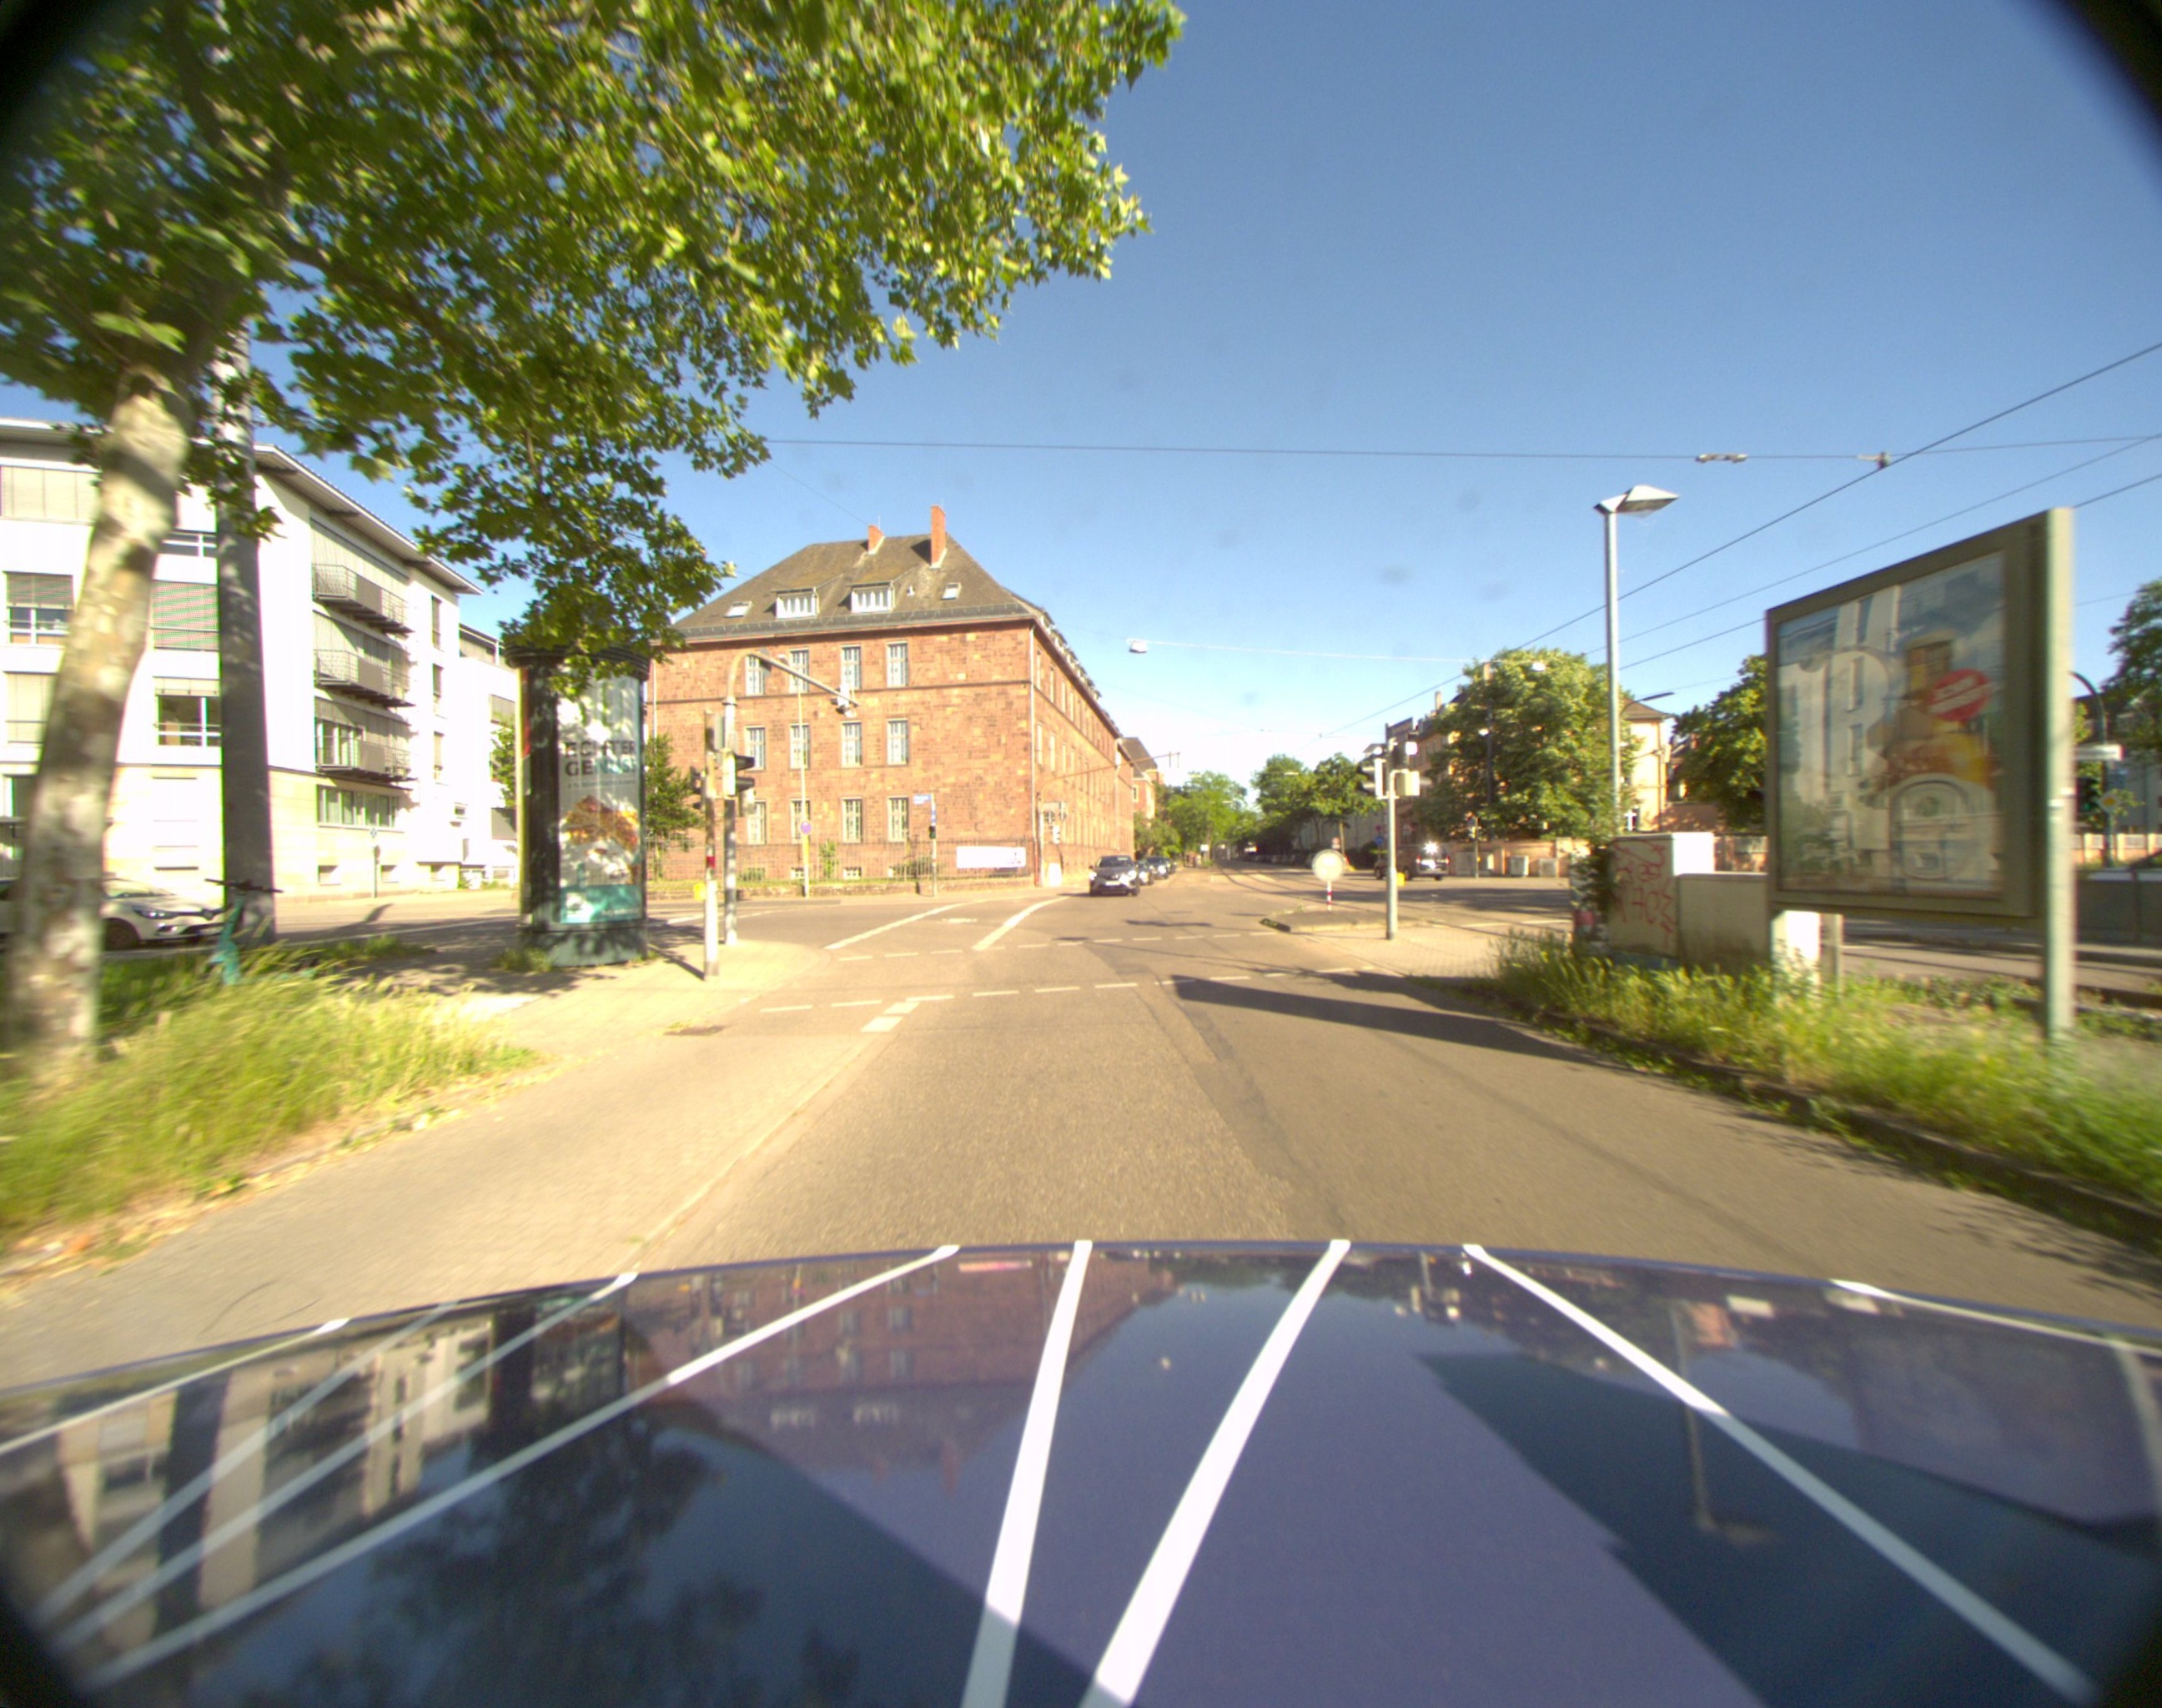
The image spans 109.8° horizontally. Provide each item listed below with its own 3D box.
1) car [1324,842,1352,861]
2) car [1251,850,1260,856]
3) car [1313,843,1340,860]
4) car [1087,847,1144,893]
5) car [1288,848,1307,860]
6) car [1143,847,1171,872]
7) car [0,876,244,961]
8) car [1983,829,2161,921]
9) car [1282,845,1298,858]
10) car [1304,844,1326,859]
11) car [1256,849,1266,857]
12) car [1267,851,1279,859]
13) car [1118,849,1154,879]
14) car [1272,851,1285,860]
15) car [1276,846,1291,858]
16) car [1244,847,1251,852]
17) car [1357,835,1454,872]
[{"bbox_3d":[23.863,-0.219,70.668,1.815,1.696,3.376,-1,0,6],"label":"car"},{"bbox_3d":[43.611,-0.306,190.131,1.815,1.514,3.632,-1,0,8],"label":"car"},{"bbox_3d":[24.359,-0.240,75.386,1.815,1.648,3.822,-1,0,6],"label":"car"},{"bbox_3d":[1.404,0.571,29.397,1.794,1.595,3.801,-2,0,8],"label":"car"},{"bbox_3d":[28.455,0.009,99.963,1.815,1.589,3.632,-1,0,8],"label":"car"},{"bbox_3d":[5.509,0.387,54.756,1.794,1.638,4.086,-2,0,8],"label":"car"},{"bbox_3d":[-19.683,1.234,14.978,4.000,1.459,1.798,-1,1,-9],"label":"car"},{"bbox_3d":[19.107,0.341,13.297,1.925,1.558,4.000,-1,0,2],"label":"car"},{"bbox_3d":[30.694,-0.317,111.746,1.815,1.814,3.798,-1,0,8],"label":"car"},{"bbox_3d":[25.881,-0.304,84.001,1.814,1.648,3.879,-1,0,10],"label":"car"},{"bbox_3d":[42.360,-0.231,178.805,1.815,1.768,3.632,-1,0,8],"label":"car"},{"bbox_3d":[35.028,0.229,138.792,1.815,1.411,3.632,-1,0,8],"label":"car"},{"bbox_3d":[3.173,0.542,43.309,1.794,1.595,3.801,-2,0,8],"label":"car"},{"bbox_3d":[33.758,0.233,129.947,1.815,1.411,3.632,-1,0,8],"label":"car"},{"bbox_3d":[32.101,-0.311,120.721,1.815,1.929,3.632,-1,0,8],"label":"car"},{"bbox_3d":[51.232,-1.484,233.961,1.815,1.411,3.632,-1,0,8],"label":"car"},{"bbox_3d":[16.526,-0.078,39.033,2.001,1.757,5.024,-1,2,-13],"label":"car"}]
